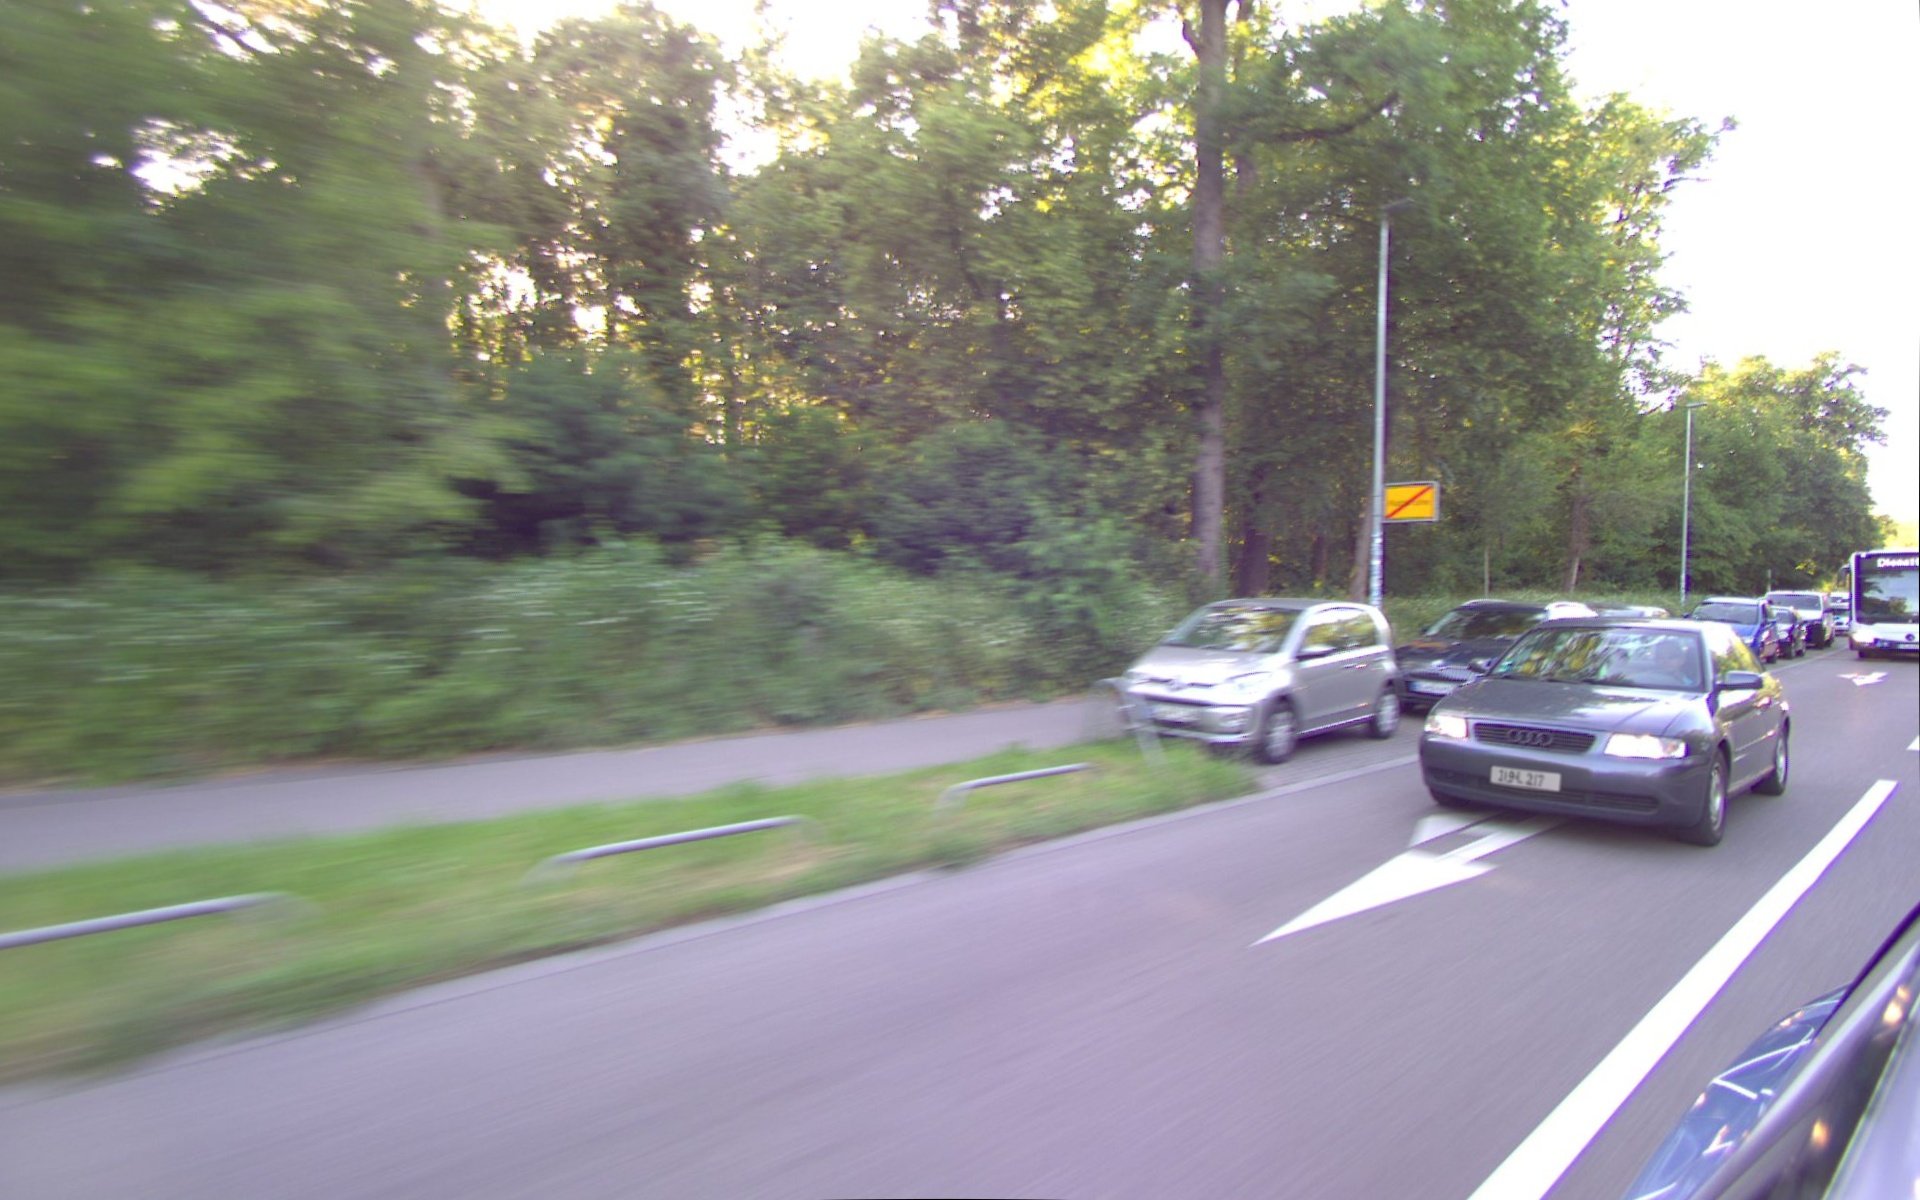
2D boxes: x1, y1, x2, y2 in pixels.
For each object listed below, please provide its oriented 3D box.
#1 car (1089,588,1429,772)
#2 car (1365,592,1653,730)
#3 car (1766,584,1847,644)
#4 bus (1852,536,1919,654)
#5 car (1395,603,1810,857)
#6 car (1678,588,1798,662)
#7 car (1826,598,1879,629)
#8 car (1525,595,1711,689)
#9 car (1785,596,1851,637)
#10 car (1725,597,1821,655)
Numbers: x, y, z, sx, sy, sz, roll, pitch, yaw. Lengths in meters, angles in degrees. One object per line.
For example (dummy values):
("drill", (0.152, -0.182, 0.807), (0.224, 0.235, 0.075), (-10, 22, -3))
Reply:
("car", (3.209, 0.653, 10.469), (3.810, 1.487, 1.719), (-1, 3, -45))
("car", (7.569, 0.672, 13.704), (5.028, 1.487, 1.765), (0, 2, -41))
("car", (29.874, 0.440, 35.658), (1.815, 1.945, 5.183), (0, 0, 44))
("bus", (29.724, -0.112, 30.940), (12.674, 3.086, 2.807), (0, 0, -45))
("car", (4.937, 0.722, 7.542), (3.926, 1.376, 1.676), (0, 0, -43))
("car", (19.443, 0.554, 25.245), (3.766, 1.654, 1.816), (0, 3, -44))
("car", (42.339, 0.600, 47.964), (3.766, 1.400, 1.592), (-1, 0, -44))
("car", (11.720, 0.651, 17.928), (4.157, 1.421, 1.675), (0, 2, -41))
("car", (34.005, 0.605, 40.077), (1.814, 1.529, 3.770), (0, 0, 43))
("car", (23.269, 0.690, 28.935), (1.814, 1.497, 3.769), (0, 0, 44))
